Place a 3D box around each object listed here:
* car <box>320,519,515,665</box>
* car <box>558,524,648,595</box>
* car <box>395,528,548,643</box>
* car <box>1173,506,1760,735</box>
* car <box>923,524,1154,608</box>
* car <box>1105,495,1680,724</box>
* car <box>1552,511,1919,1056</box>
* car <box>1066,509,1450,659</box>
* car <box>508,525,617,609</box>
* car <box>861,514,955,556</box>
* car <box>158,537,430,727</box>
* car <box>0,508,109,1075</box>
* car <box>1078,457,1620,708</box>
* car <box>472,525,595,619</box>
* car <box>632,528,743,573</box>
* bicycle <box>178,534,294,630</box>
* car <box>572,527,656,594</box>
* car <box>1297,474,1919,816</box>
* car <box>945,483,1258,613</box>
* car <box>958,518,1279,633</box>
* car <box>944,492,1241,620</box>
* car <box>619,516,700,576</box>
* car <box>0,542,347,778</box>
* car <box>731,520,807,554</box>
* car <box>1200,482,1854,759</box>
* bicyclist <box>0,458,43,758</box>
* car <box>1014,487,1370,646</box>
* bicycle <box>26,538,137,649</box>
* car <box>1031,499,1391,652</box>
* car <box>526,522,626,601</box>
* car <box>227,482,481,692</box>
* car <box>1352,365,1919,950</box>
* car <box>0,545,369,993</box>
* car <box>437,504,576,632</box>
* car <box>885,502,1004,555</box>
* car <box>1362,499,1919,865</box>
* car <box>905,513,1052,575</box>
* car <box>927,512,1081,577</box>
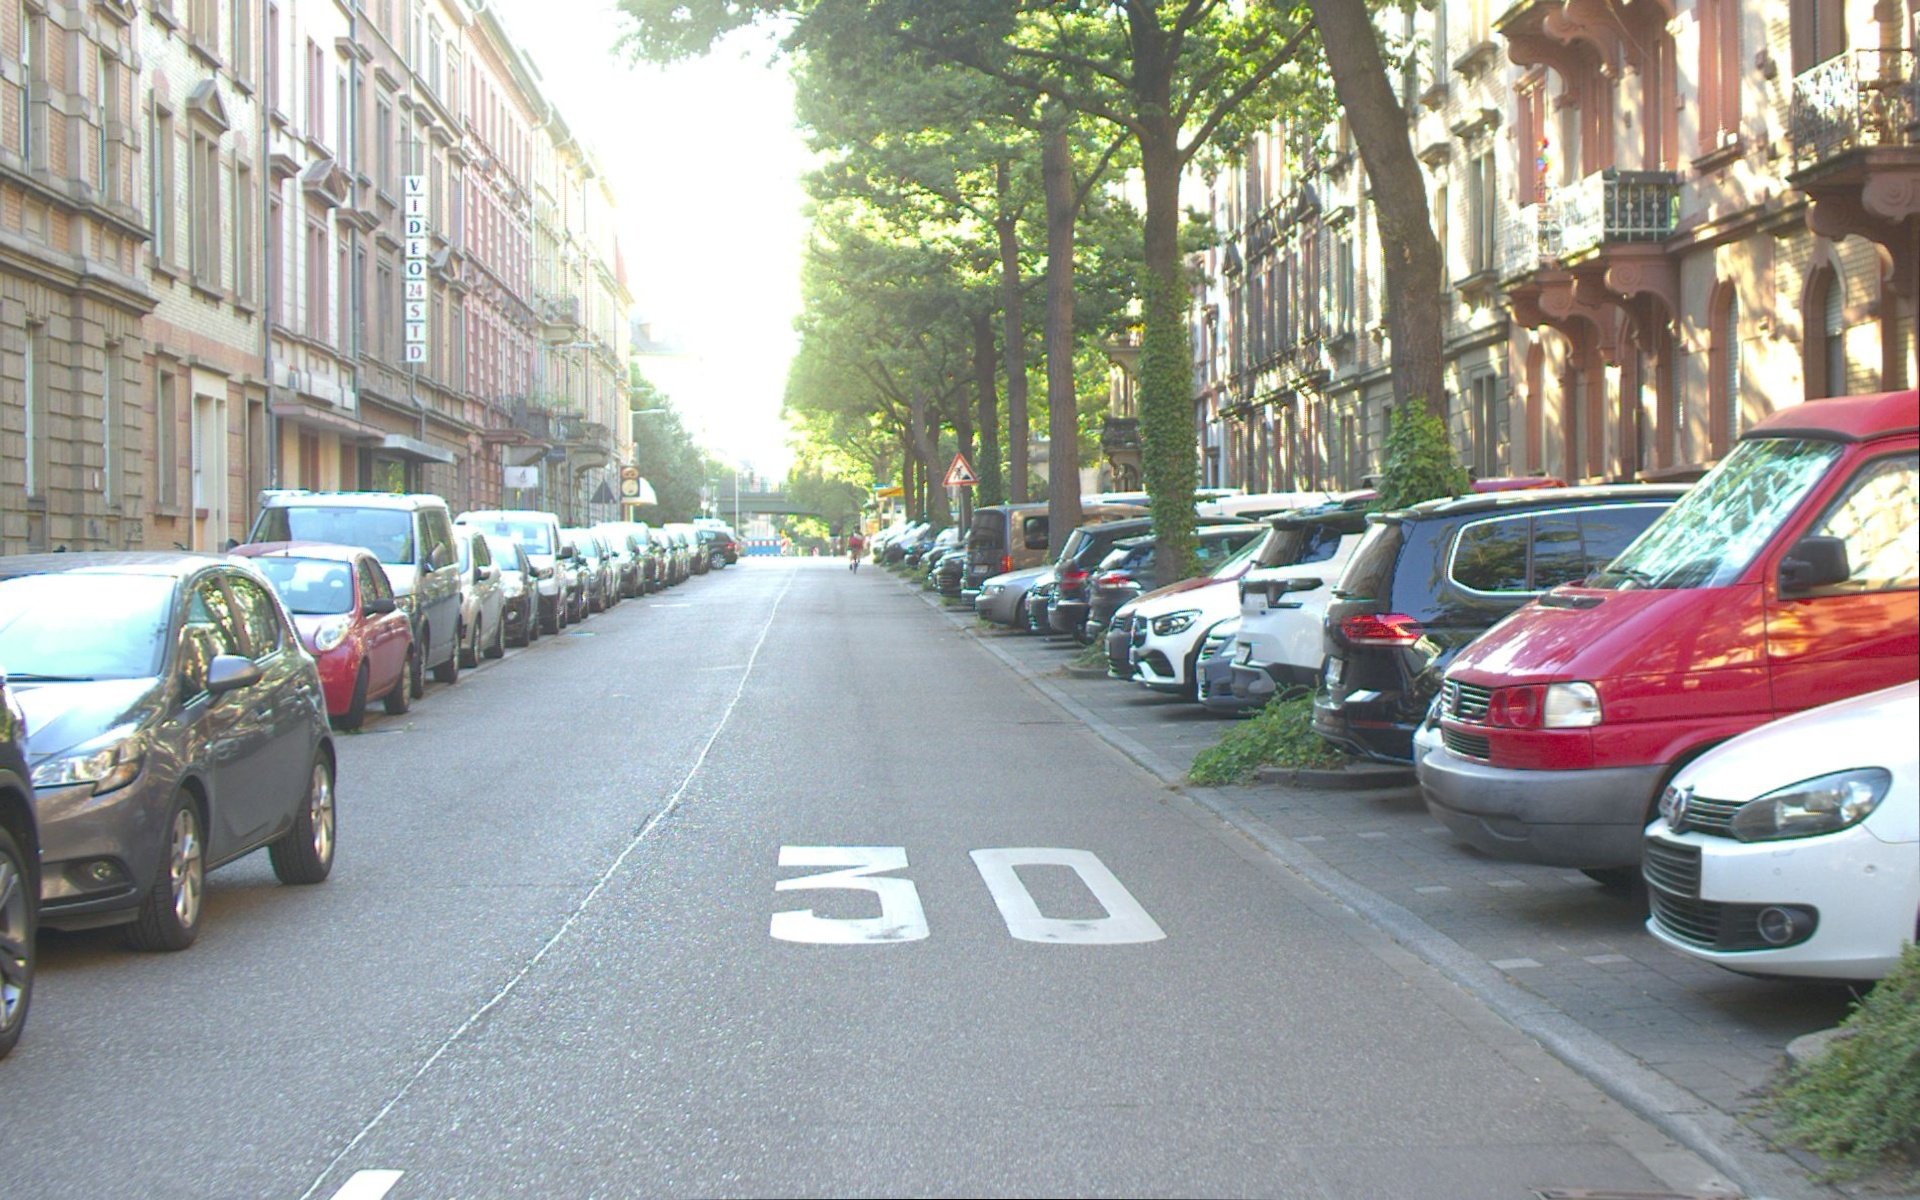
[{"bbox_3d":[-6.364,-0.134,40.757,1.753,1.603,4.384,1,1,-2],"label":"car"},{"bbox_3d":[-7.700,-0.898,74.398,1.758,1.468,4.060,-1,1,-4],"label":"car"},{"bbox_3d":[-6.672,-0.228,47.309,1.758,1.462,4.001,1,1,-4],"label":"car"},{"bbox_3d":[3.729,0.135,25.767,4.010,1.429,1.795,-3,1,-3],"label":"car"},{"bbox_3d":[1.364,-0.611,60.759,3.849,1.289,1.718,-3,1,-5],"label":"car"},{"bbox_3d":[3.473,0.044,28.131,4.343,1.551,1.850,-3,2,-3],"label":"car"},{"bbox_3d":[4.081,0.429,10.682,4.053,1.505,1.879,-3,1,-2],"label":"car"},{"bbox_3d":[3.270,-0.186,38.263,4.010,1.462,1.734,-3,1,-2],"label":"car"},{"bbox_3d":[-7.286,-0.634,63.286,1.758,1.468,4.060,-1,1,-4],"label":"car"},{"bbox_3d":[-2.226,-2.752,145.401,3.850,1.568,1.718,-3,1,-3],"label":"car"},{"bbox_3d":[-5.580,0.224,29.188,1.592,1.470,3.700,1,1,0],"label":"car"},{"bbox_3d":[-3.639,0.588,8.497,1.758,1.594,4.550,-1,1,2],"label":"car"},{"bbox_3d":[3.418,-0.190,30.690,4.443,1.917,1.850,-3,2,-5],"label":"car"},{"bbox_3d":[-7.057,-0.490,57.189,1.758,1.468,4.060,-1,1,-4],"label":"car"},{"bbox_3d":[-9.676,-1.744,122.214,1.997,1.481,3.993,-1,-1,30],"label":"car"},{"bbox_3d":[-10.464,-0.291,49.842,1.041,1.314,4.001,0,1,-3],"label":"bicycle"},{"bbox_3d":[-7.935,-0.934,79.159,1.758,1.468,4.060,-1,1,-4],"label":"car"},{"bbox_3d":[4.016,0.192,18.466,4.186,1.622,1.837,-2,1,1],"label":"car"},{"bbox_3d":[2.347,-0.889,57.925,5.056,1.918,1.835,-3,1,-2],"label":"car"},{"bbox_3d":[2.210,-0.368,48.547,4.220,1.398,1.835,-3,1,-7],"label":"car"},{"bbox_3d":[2.090,-0.698,54.180,4.220,1.788,1.835,-3,2,-21],"label":"car"},{"bbox_3d":[-7.997,-1.416,91.677,1.993,1.481,4.000,-1,-1,-3],"label":"car"},{"bbox_3d":[-5.670,0.361,24.707,1.758,1.496,4.060,-1,1,0],"label":"car"},{"bbox_3d":[-10.624,-3.491,191.028,3.988,1.853,1.751,0,1,6],"label":"car"},{"bbox_3d":[3.773,0.118,23.313,4.010,1.622,1.805,-3,1,-4],"label":"car"},{"bbox_3d":[-6.308,0.059,20.573,1.204,1.783,0.998,-3,2,-43],"label":"bicyclist"},{"bbox_3d":[2.899,-0.442,43.484,4.220,1.770,1.835,-3,1,-3],"label":"car"},{"bbox_3d":[-10.404,-0.103,40.817,0.740,1.251,2.827,0,1,-3],"label":"bicycle"},{"bbox_3d":[2.930,-0.295,40.696,4.010,1.601,1.734,-3,1,-2],"label":"car"},{"bbox_3d":[-7.588,-0.783,68.146,1.758,1.468,4.060,-1,1,-4],"label":"car"},{"bbox_3d":[-6.064,-0.179,34.964,1.832,1.936,5.261,1,1,-2],"label":"car"},{"bbox_3d":[4.066,0.124,13.432,4.674,2.026,1.879,-3,1,-5],"label":"car"},{"bbox_3d":[-3.650,0.561,13.800,1.758,1.496,4.060,-1,1,1],"label":"car"},{"bbox_3d":[-6.833,-0.519,52.139,1.758,1.835,4.530,-1,1,-4],"label":"car"},{"bbox_3d":[-0.529,-2.397,115.129,3.850,1.568,1.718,-3,1,-3],"label":"car"},{"bbox_3d":[4.355,0.293,16.022,4.675,1.509,1.879,-3,1,0],"label":"car"},{"bbox_3d":[0.510,-1.586,97.421,3.849,1.568,1.718,-3,1,-10],"label":"car"},{"bbox_3d":[1.172,-1.500,92.796,3.849,1.568,1.718,-3,1,-10],"label":"car"}]
